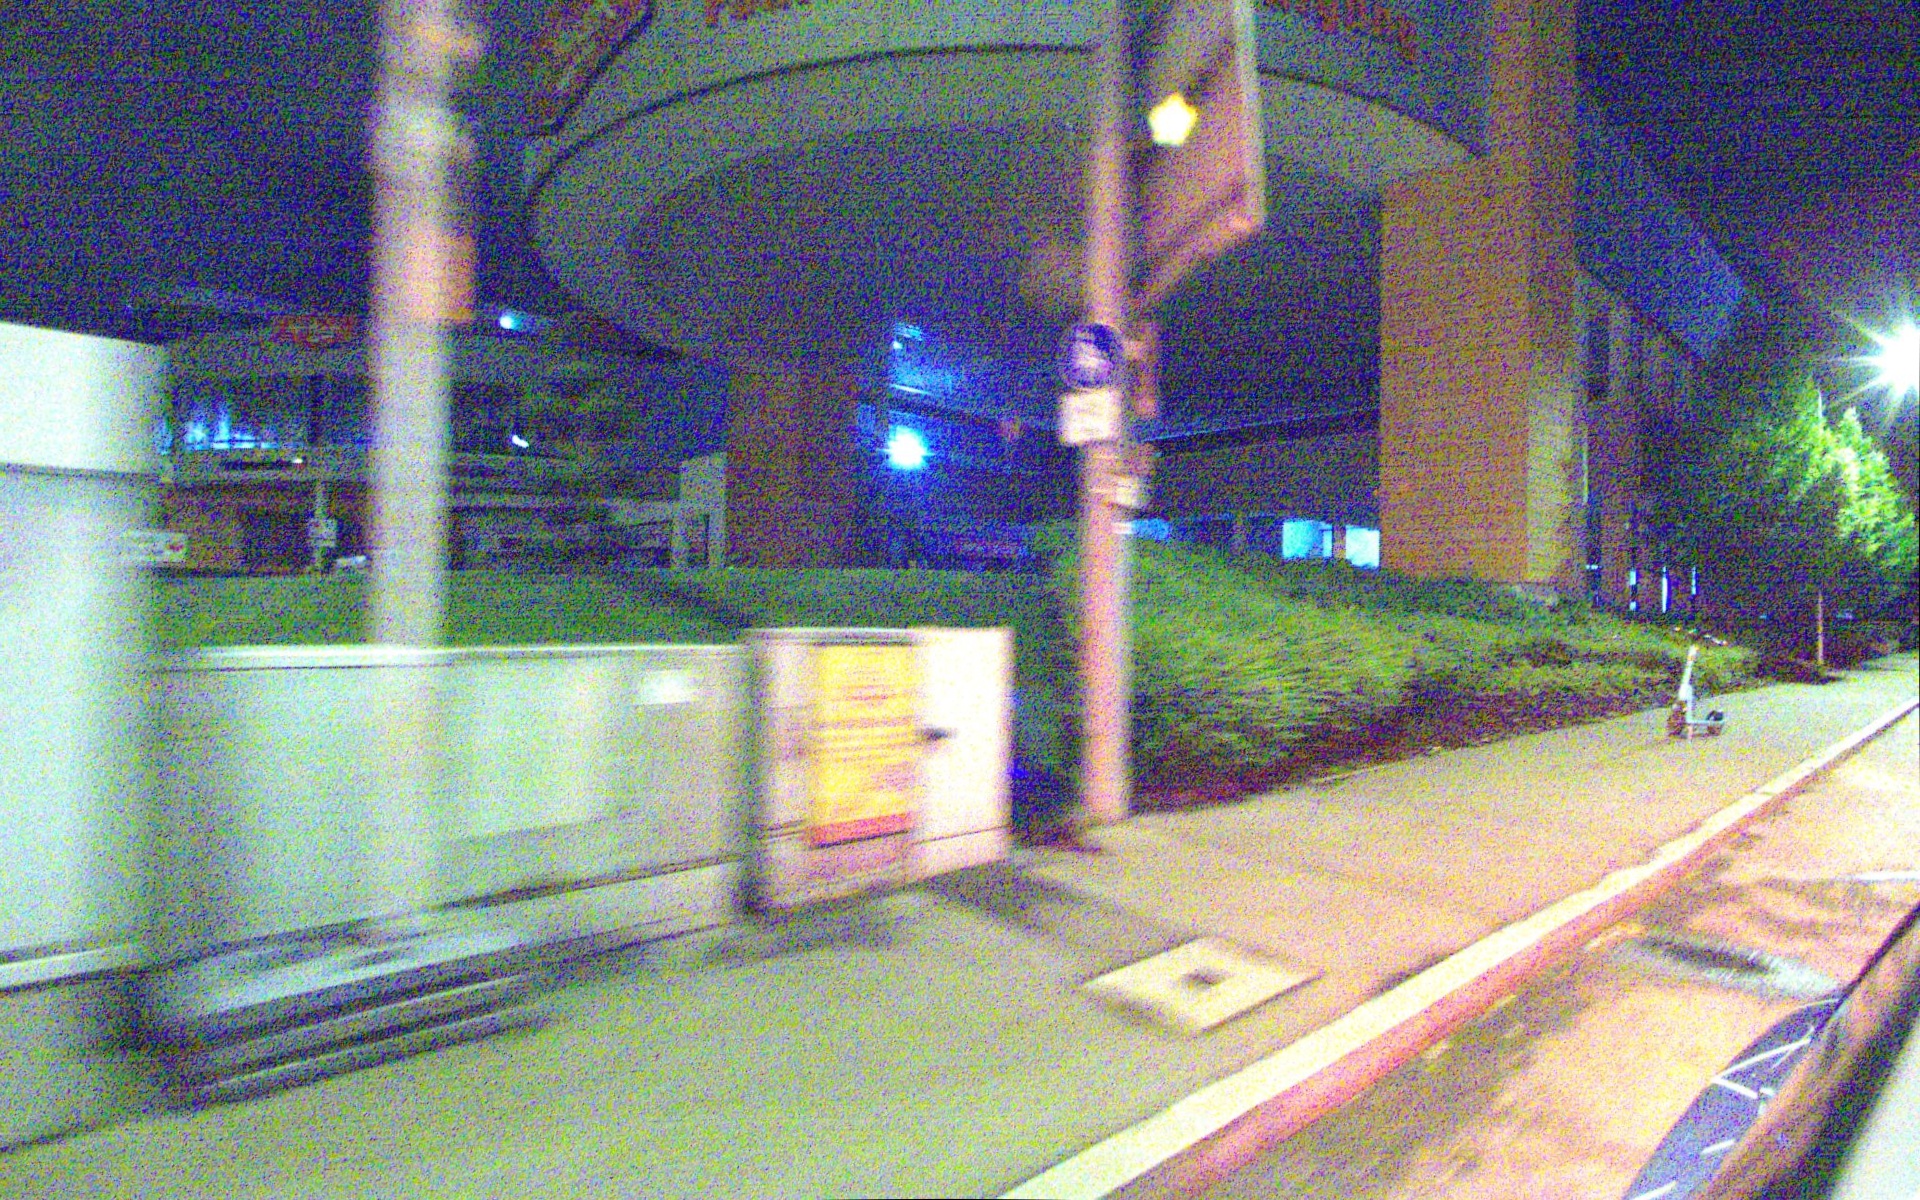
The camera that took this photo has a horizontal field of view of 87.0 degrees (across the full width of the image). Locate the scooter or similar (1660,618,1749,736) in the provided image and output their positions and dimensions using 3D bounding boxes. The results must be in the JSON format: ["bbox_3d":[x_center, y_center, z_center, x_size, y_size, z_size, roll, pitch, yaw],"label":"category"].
[{"bbox_3d":[8.687,0.859,11.797,1.296,1.277,0.495,1,2,-40],"label":"scooter or similar"}]
